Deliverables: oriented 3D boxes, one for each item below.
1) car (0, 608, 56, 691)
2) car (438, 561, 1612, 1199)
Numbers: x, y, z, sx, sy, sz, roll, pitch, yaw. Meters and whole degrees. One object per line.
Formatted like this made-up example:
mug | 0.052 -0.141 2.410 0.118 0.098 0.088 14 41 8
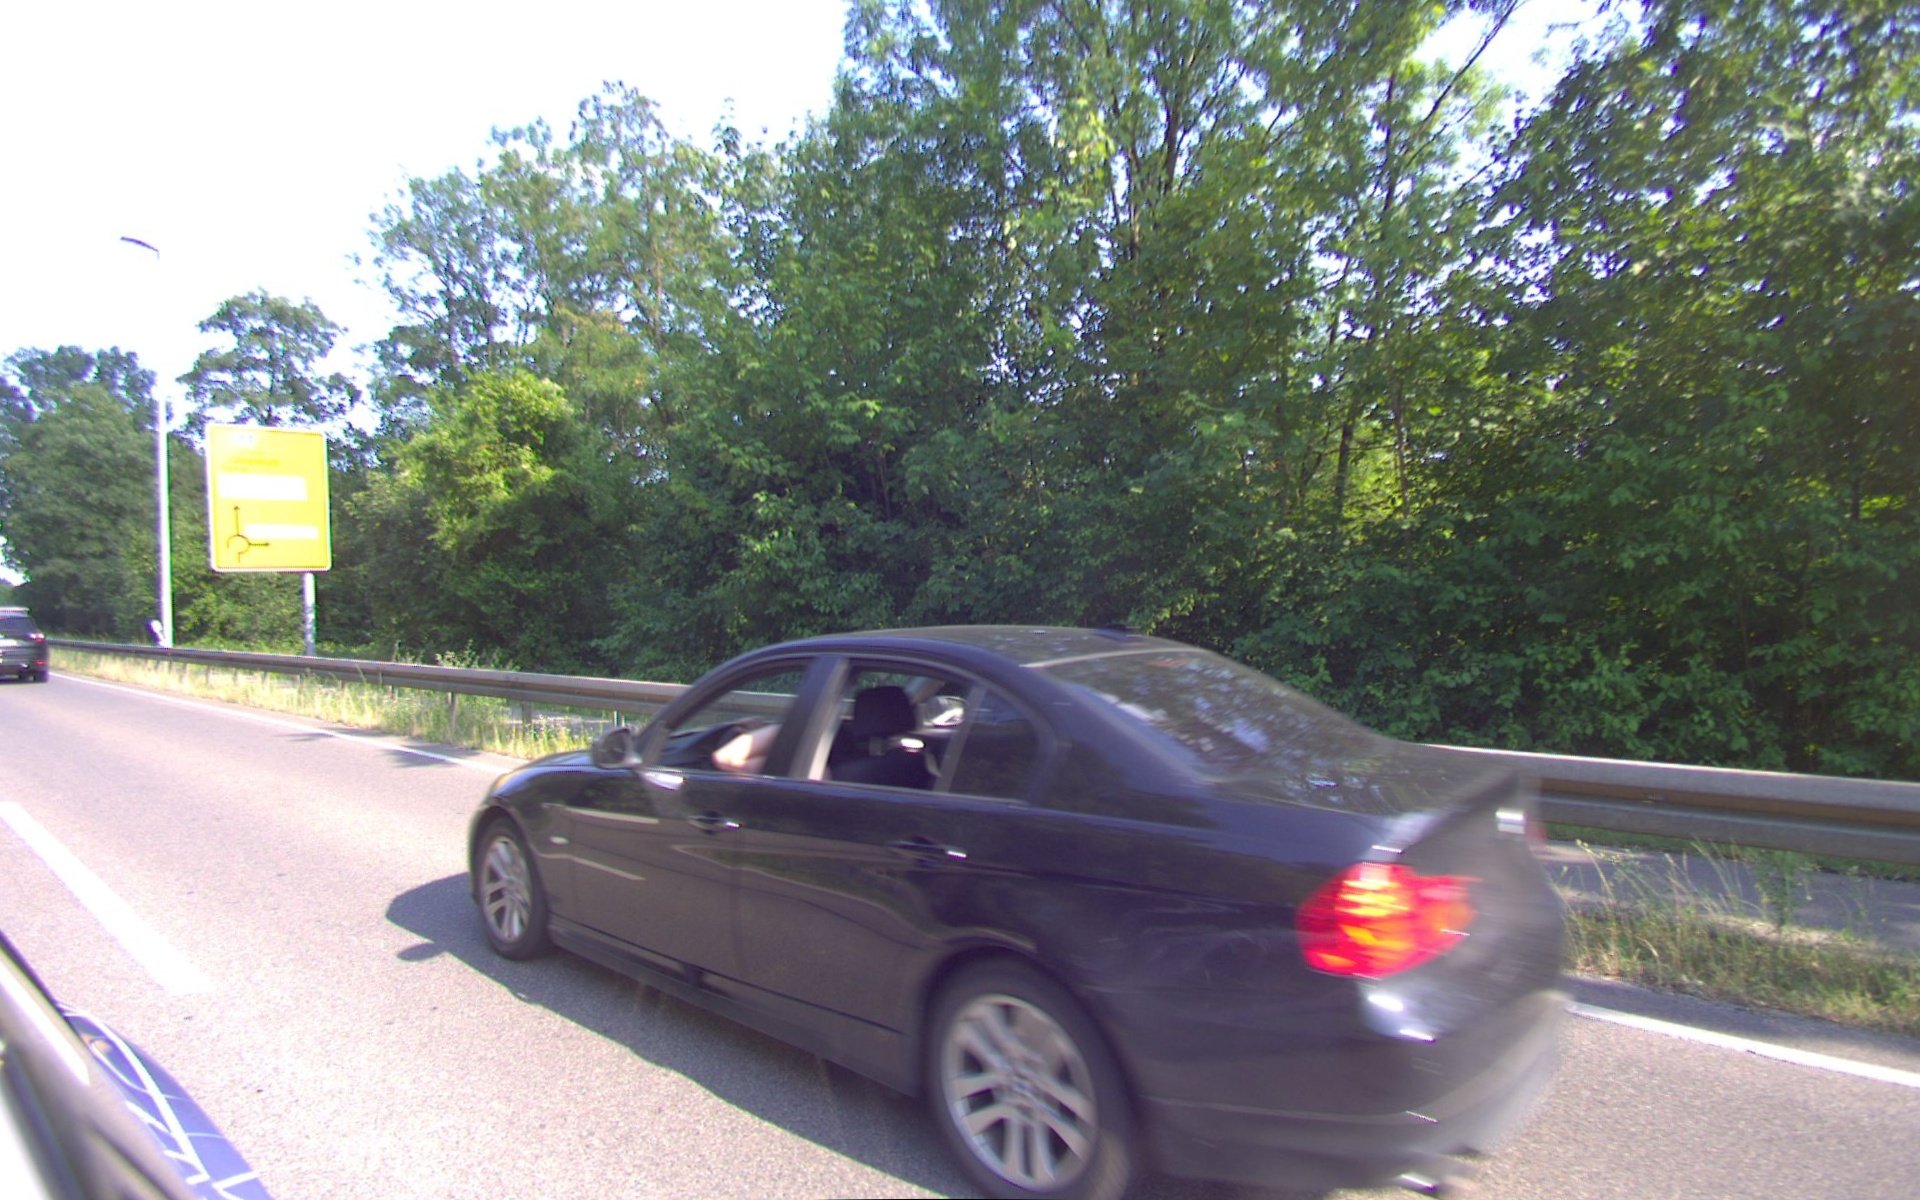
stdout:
car | -21.627 1.075 22.579 4.220 1.730 1.729 -1 -1 42
car | -0.177 0.697 3.722 4.139 1.431 1.674 -1 -2 41
